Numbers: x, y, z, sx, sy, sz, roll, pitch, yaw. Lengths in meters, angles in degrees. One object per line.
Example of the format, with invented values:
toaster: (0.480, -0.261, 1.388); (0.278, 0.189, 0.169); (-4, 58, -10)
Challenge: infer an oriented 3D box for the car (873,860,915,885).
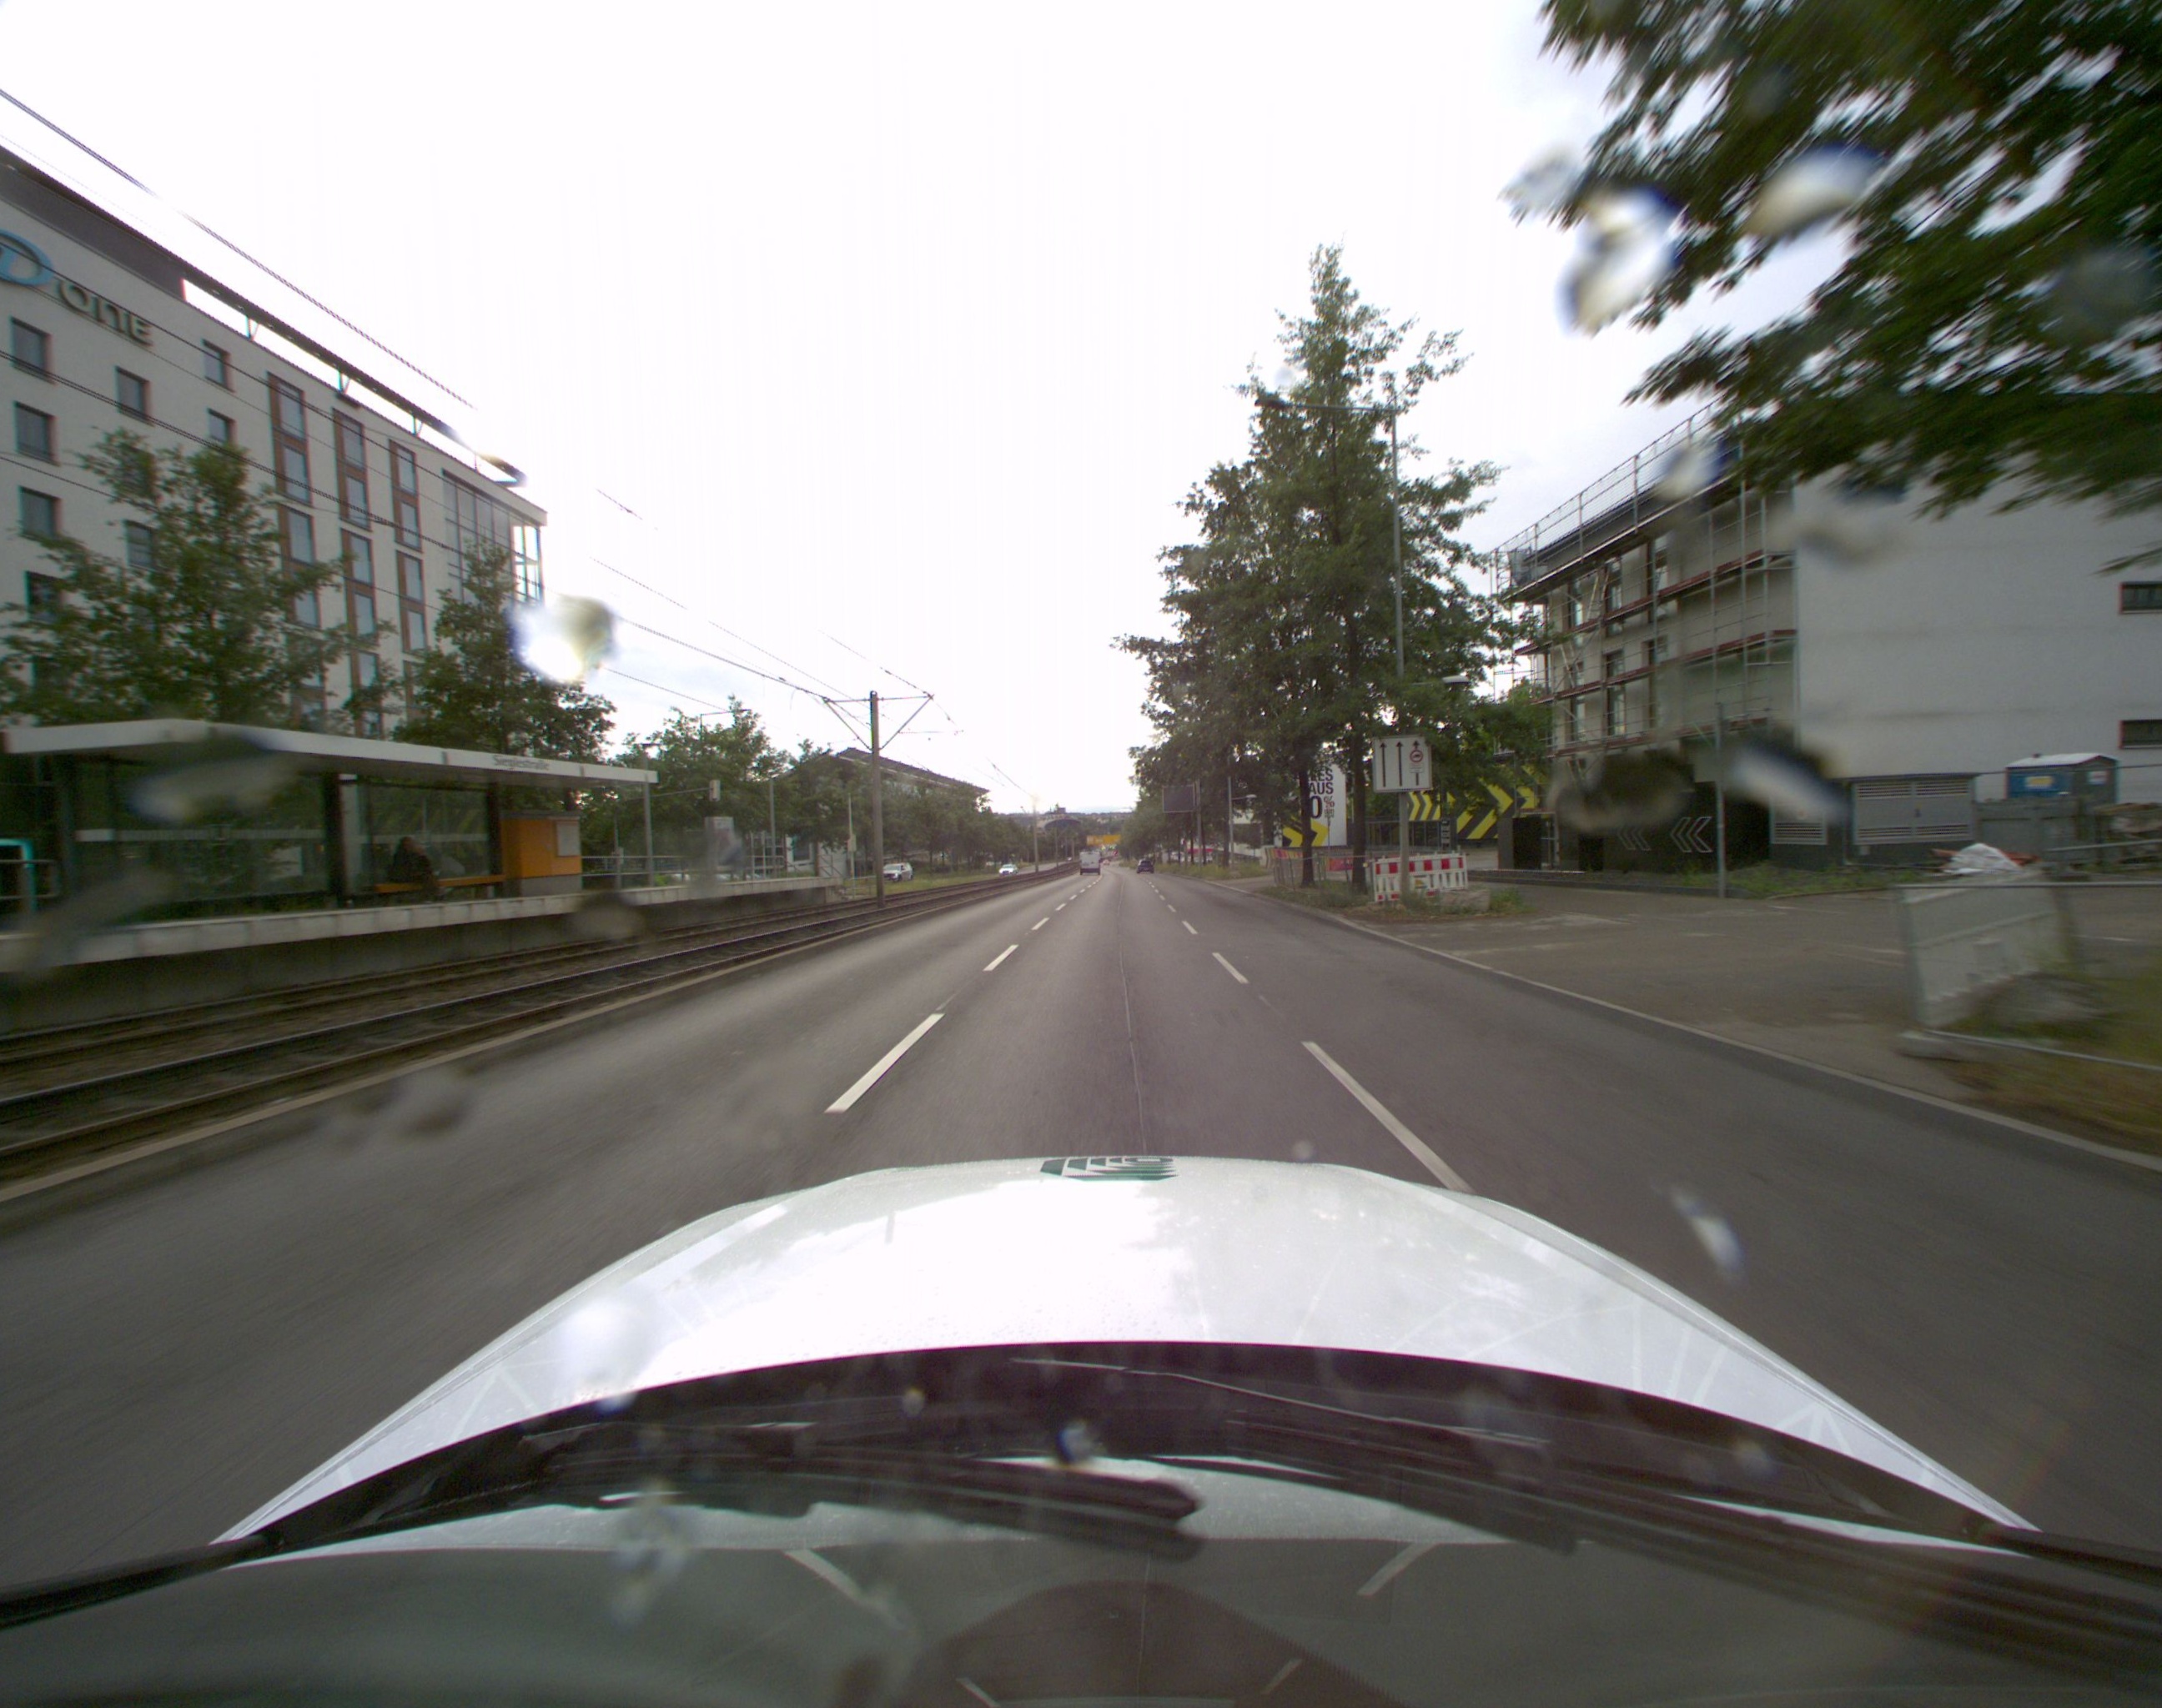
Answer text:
car: (-15.281, 1.510, 66.812); (1.986, 1.847, 5.005); (-3, 0, 2)

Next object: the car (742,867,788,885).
car: (-33.188, 2.276, 85.559); (4.053, 1.836, 1.864); (0, -1, 4)

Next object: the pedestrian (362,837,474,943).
pedestrian: (-13.018, 0.690, 16.036); (1.122, 2.014, 1.271); (0, -1, 2)

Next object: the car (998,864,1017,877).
car: (-9.544, 2.124, 106.117); (1.830, 1.444, 4.432); (-3, 0, 3)

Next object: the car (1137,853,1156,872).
car: (7.085, 0.891, 88.201); (1.985, 2.014, 3.937); (0, -1, 3)

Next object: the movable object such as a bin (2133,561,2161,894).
movable object such as a bin: (23.210, -2.272, 11.354); (12.103, 5.261, 3.788); (-2, -1, -1)

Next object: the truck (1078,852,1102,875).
truck: (0.911, 0.934, 82.099); (2.352, 2.262, 5.305); (0, -1, 1)

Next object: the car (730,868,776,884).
car: (-33.327, 2.260, 82.739); (4.035, 1.618, 1.640); (0, -1, 4)

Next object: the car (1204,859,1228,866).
car: (23.838, 1.499, 143.774); (3.967, 1.354, 2.003); (0, -1, 5)
